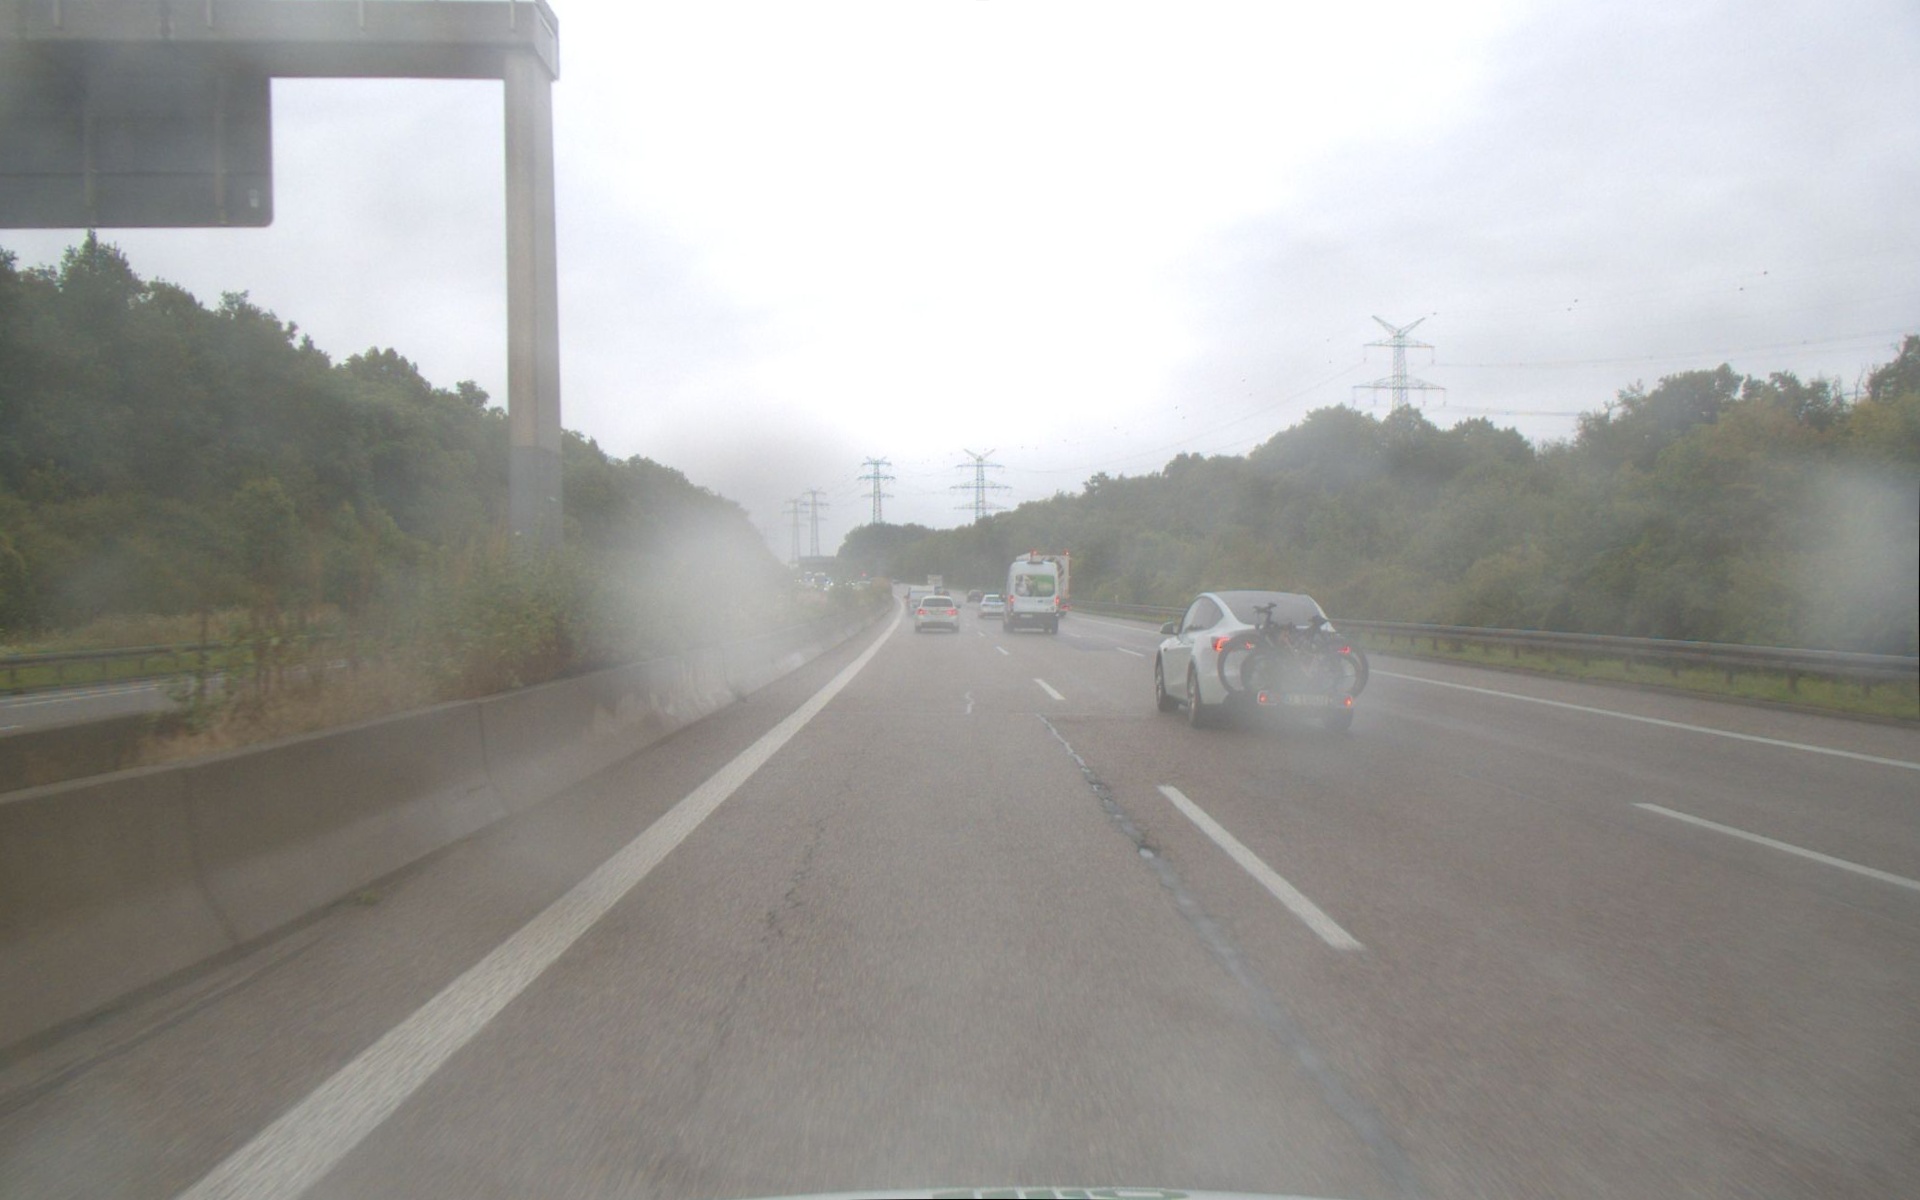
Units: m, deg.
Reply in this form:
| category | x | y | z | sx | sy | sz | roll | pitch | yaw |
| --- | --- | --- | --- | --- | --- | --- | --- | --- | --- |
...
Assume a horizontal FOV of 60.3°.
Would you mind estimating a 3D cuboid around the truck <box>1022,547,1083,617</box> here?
| category | x | y | z | sx | sy | sz | roll | pitch | yaw |
| --- | --- | --- | --- | --- | --- | --- | --- | --- | --- |
| truck | 6.059 | -1.147 | 110.381 | 3.529 | 4.408 | 13.201 | 0 | 0 | 1 |

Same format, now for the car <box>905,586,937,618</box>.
| category | x | y | z | sx | sy | sz | roll | pitch | yaw |
| --- | --- | --- | --- | --- | --- | --- | --- | --- | --- |
| car | -2.275 | 0.109 | 98.028 | 1.808 | 1.803 | 3.999 | 1 | 0 | -1 |

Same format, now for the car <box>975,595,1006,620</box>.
| category | x | y | z | sx | sy | sz | roll | pitch | yaw |
| --- | --- | --- | --- | --- | --- | --- | --- | --- | --- |
| car | 1.811 | 0.442 | 98.464 | 1.819 | 1.447 | 4.000 | 0 | 1 | 0 |

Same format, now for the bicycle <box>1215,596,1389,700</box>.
| category | x | y | z | sx | sy | sz | roll | pitch | yaw |
| --- | --- | --- | --- | --- | --- | --- | --- | --- | --- |
| bicycle | 3.745 | 0.524 | 18.237 | 1.718 | 1.110 | 0.913 | 0 | -1 | -1 |

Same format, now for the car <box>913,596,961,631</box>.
| category | x | y | z | sx | sy | sz | roll | pitch | yaw |
| --- | --- | --- | --- | --- | --- | --- | --- | --- | --- |
| car | -0.900 | 0.513 | 65.229 | 1.828 | 1.311 | 3.999 | -1 | 0 | -1 |

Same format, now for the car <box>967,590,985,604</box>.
| category | x | y | z | sx | sy | sz | roll | pitch | yaw |
| --- | --- | --- | --- | --- | --- | --- | --- | --- | --- |
| car | 1.878 | -0.341 | 197.200 | 1.953 | 1.512 | 3.999 | -3 | 0 | -1 |

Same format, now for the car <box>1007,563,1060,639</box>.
| category | x | y | z | sx | sy | sz | roll | pitch | yaw |
| --- | --- | --- | --- | --- | --- | --- | --- | --- | --- |
| car | 2.918 | 0.039 | 66.243 | 1.952 | 2.914 | 4.000 | -1 | 0 | 0 |

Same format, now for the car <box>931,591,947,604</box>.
| category | x | y | z | sx | sy | sz | roll | pitch | yaw |
| --- | --- | --- | --- | --- | --- | --- | --- | --- | --- |
| car | -2.705 | -0.292 | 215.367 | 1.953 | 1.601 | 3.999 | -2 | 0 | -1 |

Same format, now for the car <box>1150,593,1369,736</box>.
| category | x | y | z | sx | sy | sz | roll | pitch | yaw |
| --- | --- | --- | --- | --- | --- | --- | --- | --- | --- |
| car | 3.673 | 0.718 | 21.199 | 1.822 | 1.595 | 4.963 | 0 | 0 | -1 |
